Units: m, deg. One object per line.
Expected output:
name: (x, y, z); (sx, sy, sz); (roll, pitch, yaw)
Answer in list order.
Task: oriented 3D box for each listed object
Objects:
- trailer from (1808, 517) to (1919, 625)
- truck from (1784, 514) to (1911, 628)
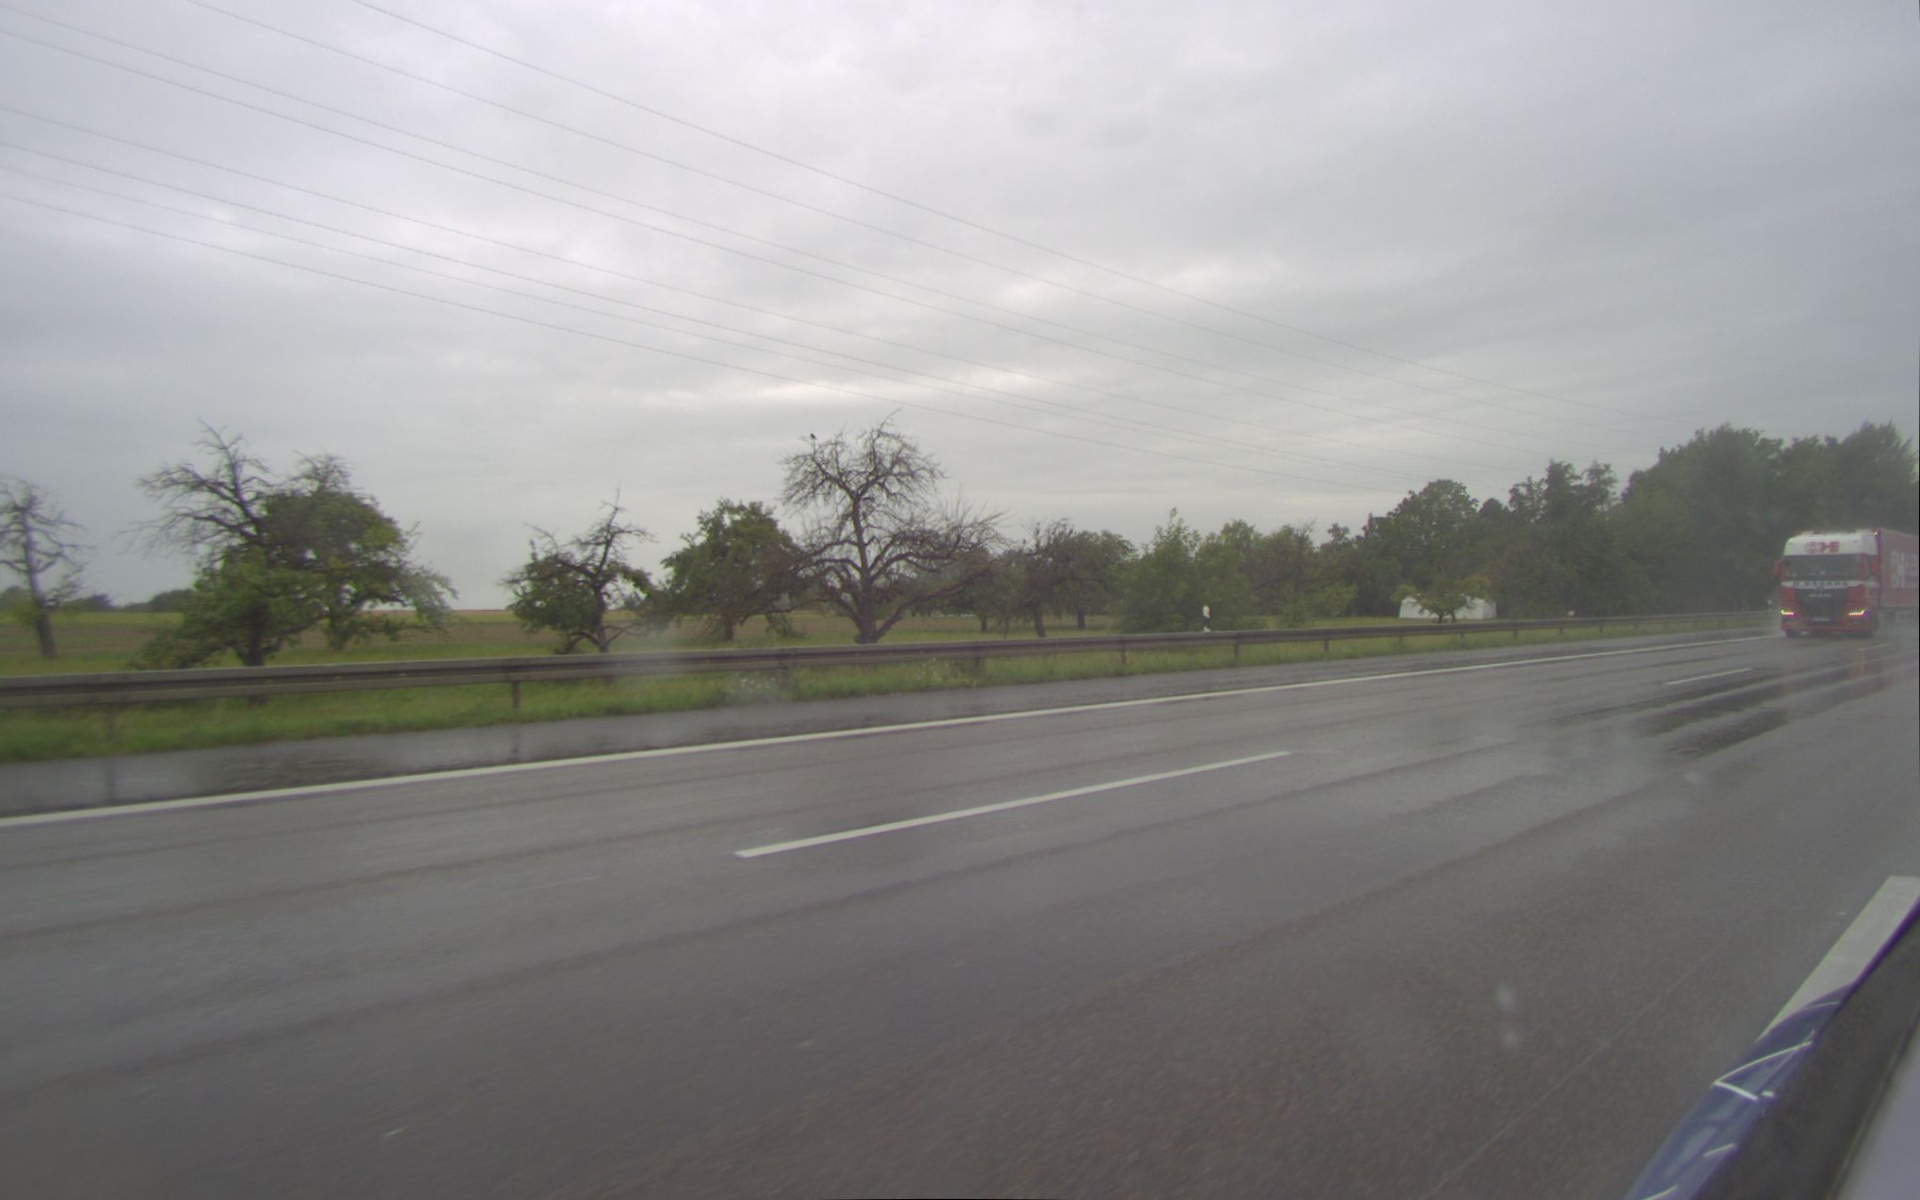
trailer: (39.168, -1.158, 42.578); (13.381, 4.005, 2.627); (-1, 0, -38)
truck: (33.480, -1.055, 38.135); (5.333, 4.005, 2.627); (-1, 0, -38)
